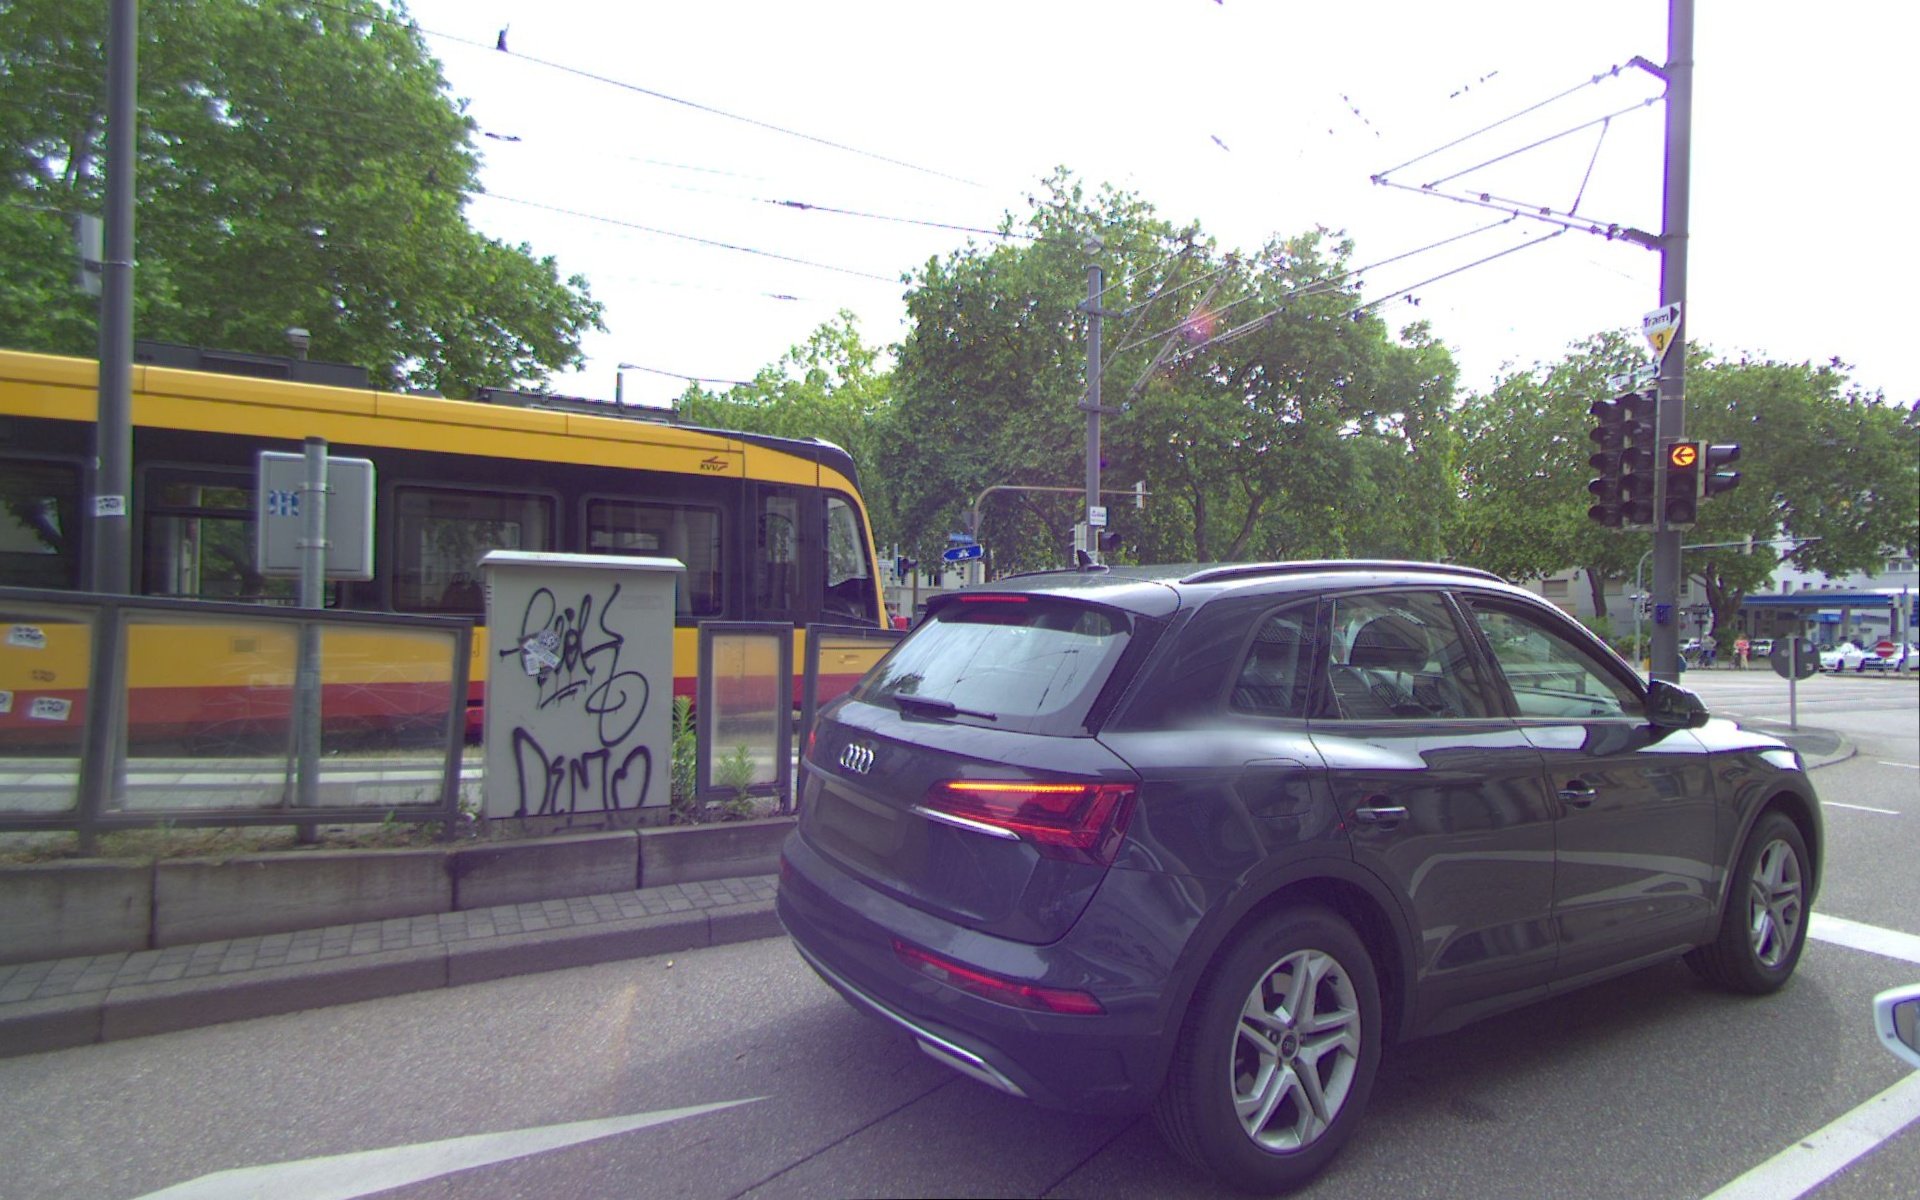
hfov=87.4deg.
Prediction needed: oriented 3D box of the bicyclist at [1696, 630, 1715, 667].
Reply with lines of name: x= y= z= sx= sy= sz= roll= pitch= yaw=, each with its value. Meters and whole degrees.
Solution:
bicyclist: x=36.688 y=2.382 z=49.421 sx=0.461 sy=1.808 sz=0.534 roll=2 pitch=0 yaw=-10

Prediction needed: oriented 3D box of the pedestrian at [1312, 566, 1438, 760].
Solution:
pedestrian: x=3.793 y=0.553 z=9.204 sx=0.722 sy=1.683 sz=0.750 roll=2 pitch=0 yaw=-30

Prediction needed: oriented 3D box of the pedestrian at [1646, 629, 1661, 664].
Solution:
pedestrian: x=36.344 y=2.455 z=52.632 sx=0.440 sy=1.808 sz=0.375 roll=2 pitch=0 yaw=3

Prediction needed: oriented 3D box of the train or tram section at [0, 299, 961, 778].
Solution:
train or tram section: x=-7.519 y=-0.463 z=9.274 sx=15.665 sy=3.636 sz=3.045 roll=2 pitch=0 yaw=-31

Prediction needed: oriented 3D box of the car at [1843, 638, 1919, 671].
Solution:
car: x=47.562 y=2.803 z=51.850 sx=3.792 sy=1.578 sz=1.885 roll=2 pitch=0 yaw=-30

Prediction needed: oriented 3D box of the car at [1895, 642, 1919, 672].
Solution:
car: x=53.521 y=3.185 z=55.366 sx=3.792 sy=1.578 sz=1.885 roll=2 pitch=0 yaw=-30

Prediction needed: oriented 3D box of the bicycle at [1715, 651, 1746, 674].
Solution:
bicycle: x=37.442 y=3.032 z=48.808 sx=1.914 sy=1.031 sz=0.519 roll=2 pitch=0 yaw=-30

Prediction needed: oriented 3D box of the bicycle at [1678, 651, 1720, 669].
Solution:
bicycle: x=36.513 y=2.961 z=49.663 sx=0.644 sy=0.783 sz=1.682 roll=2 pitch=0 yaw=-9

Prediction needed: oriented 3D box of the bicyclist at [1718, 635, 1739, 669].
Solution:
bicyclist: x=37.191 y=2.527 z=48.593 sx=0.611 sy=1.588 sz=0.585 roll=2 pitch=0 yaw=-30

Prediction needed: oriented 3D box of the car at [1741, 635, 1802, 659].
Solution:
car: x=55.449 y=3.220 z=68.622 sx=3.954 sy=1.550 sz=1.984 roll=2 pitch=0 yaw=-30

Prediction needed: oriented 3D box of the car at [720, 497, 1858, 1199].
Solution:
car: x=1.467 y=0.670 z=3.923 sx=4.308 sy=1.622 sz=1.870 roll=2 pitch=-1 yaw=-31

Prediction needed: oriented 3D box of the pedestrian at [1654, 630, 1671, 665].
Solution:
pedestrian: x=36.489 y=2.459 z=52.181 sx=0.541 sy=1.808 sz=0.375 roll=2 pitch=0 yaw=1

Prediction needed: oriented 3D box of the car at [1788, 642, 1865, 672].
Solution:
car: x=42.050 y=2.757 z=48.731 sx=3.954 sy=1.343 sz=1.626 roll=2 pitch=0 yaw=-31
